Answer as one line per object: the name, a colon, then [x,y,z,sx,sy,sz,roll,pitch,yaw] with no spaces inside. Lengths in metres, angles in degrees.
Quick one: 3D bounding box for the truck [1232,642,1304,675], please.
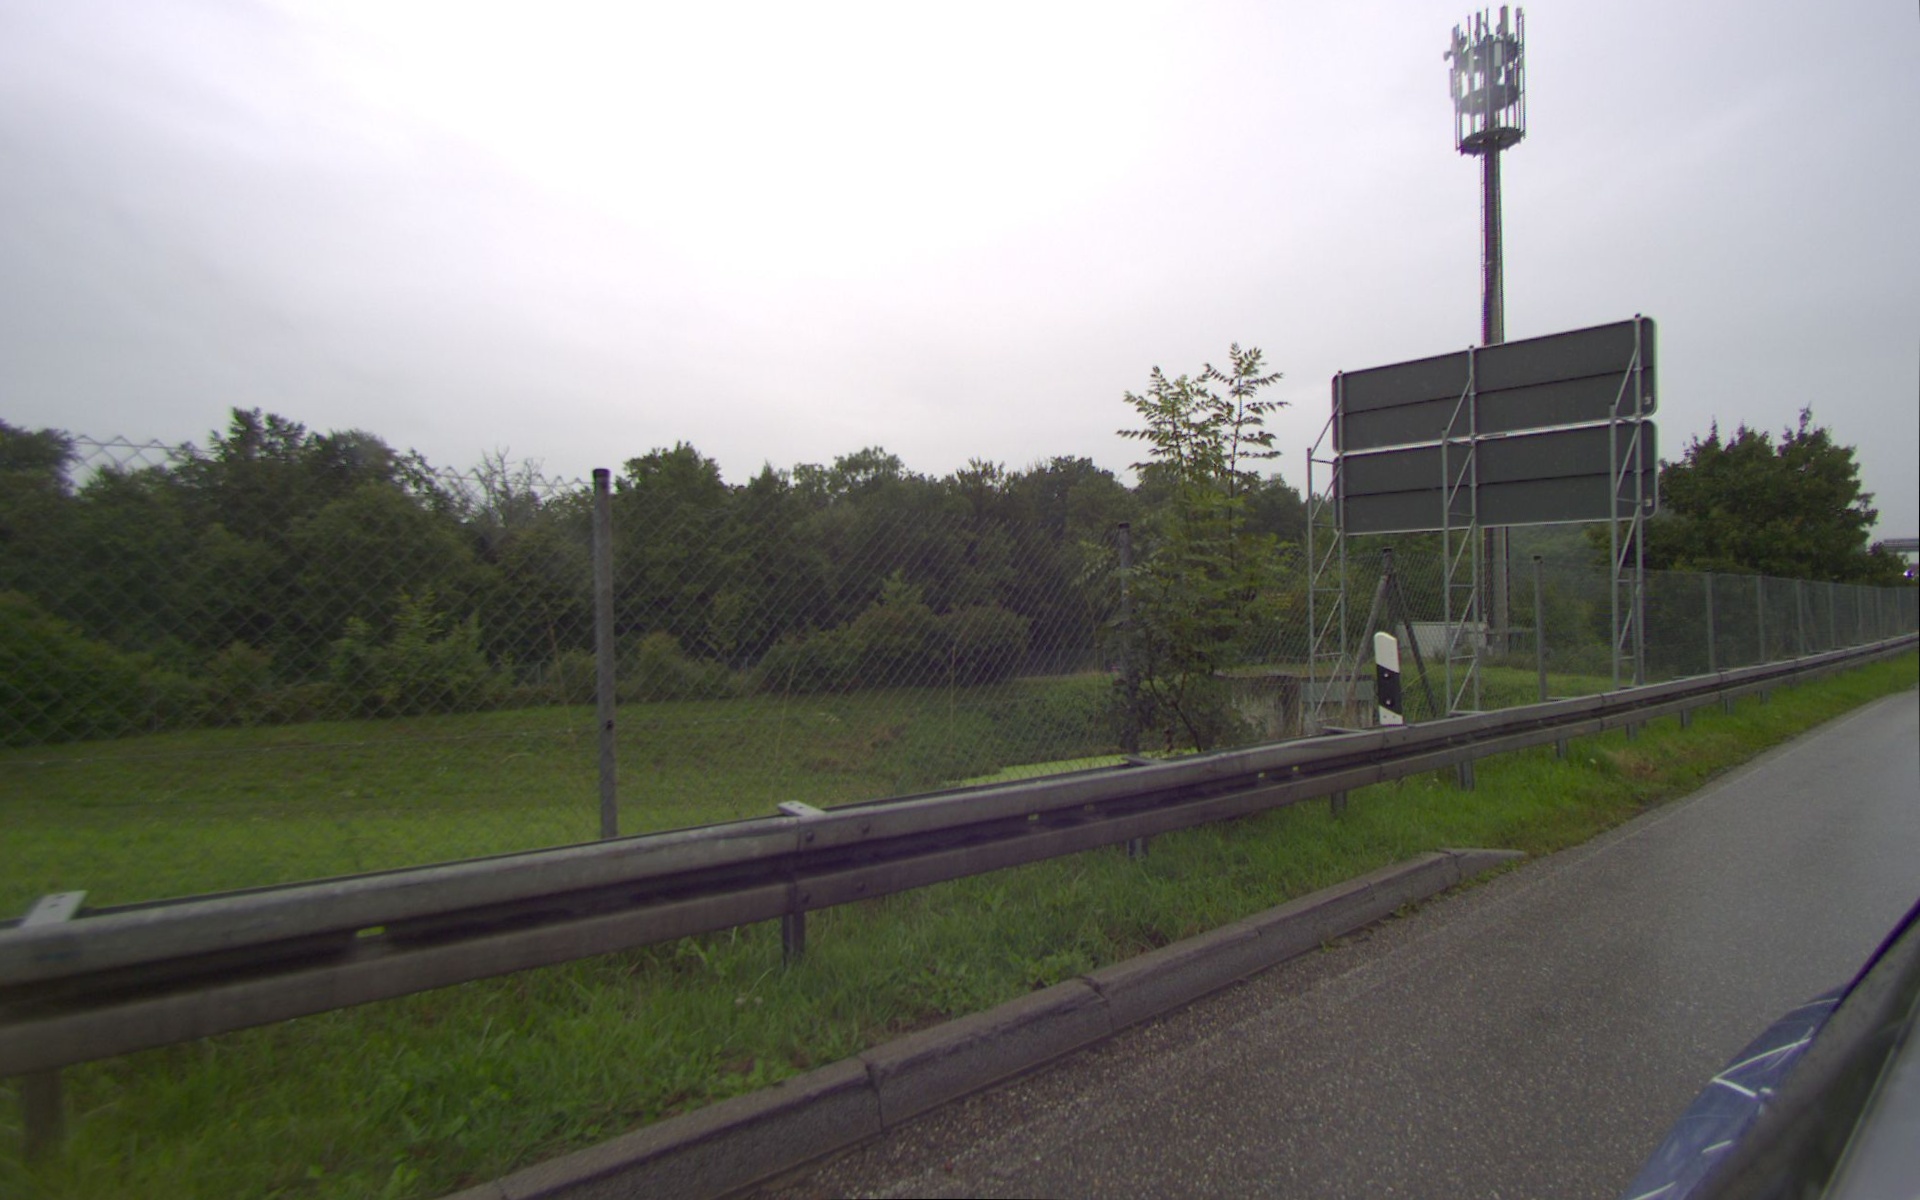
truck: [28.579,5.395,93.714,2.825,2.697,8.130,-7,-6,44]
